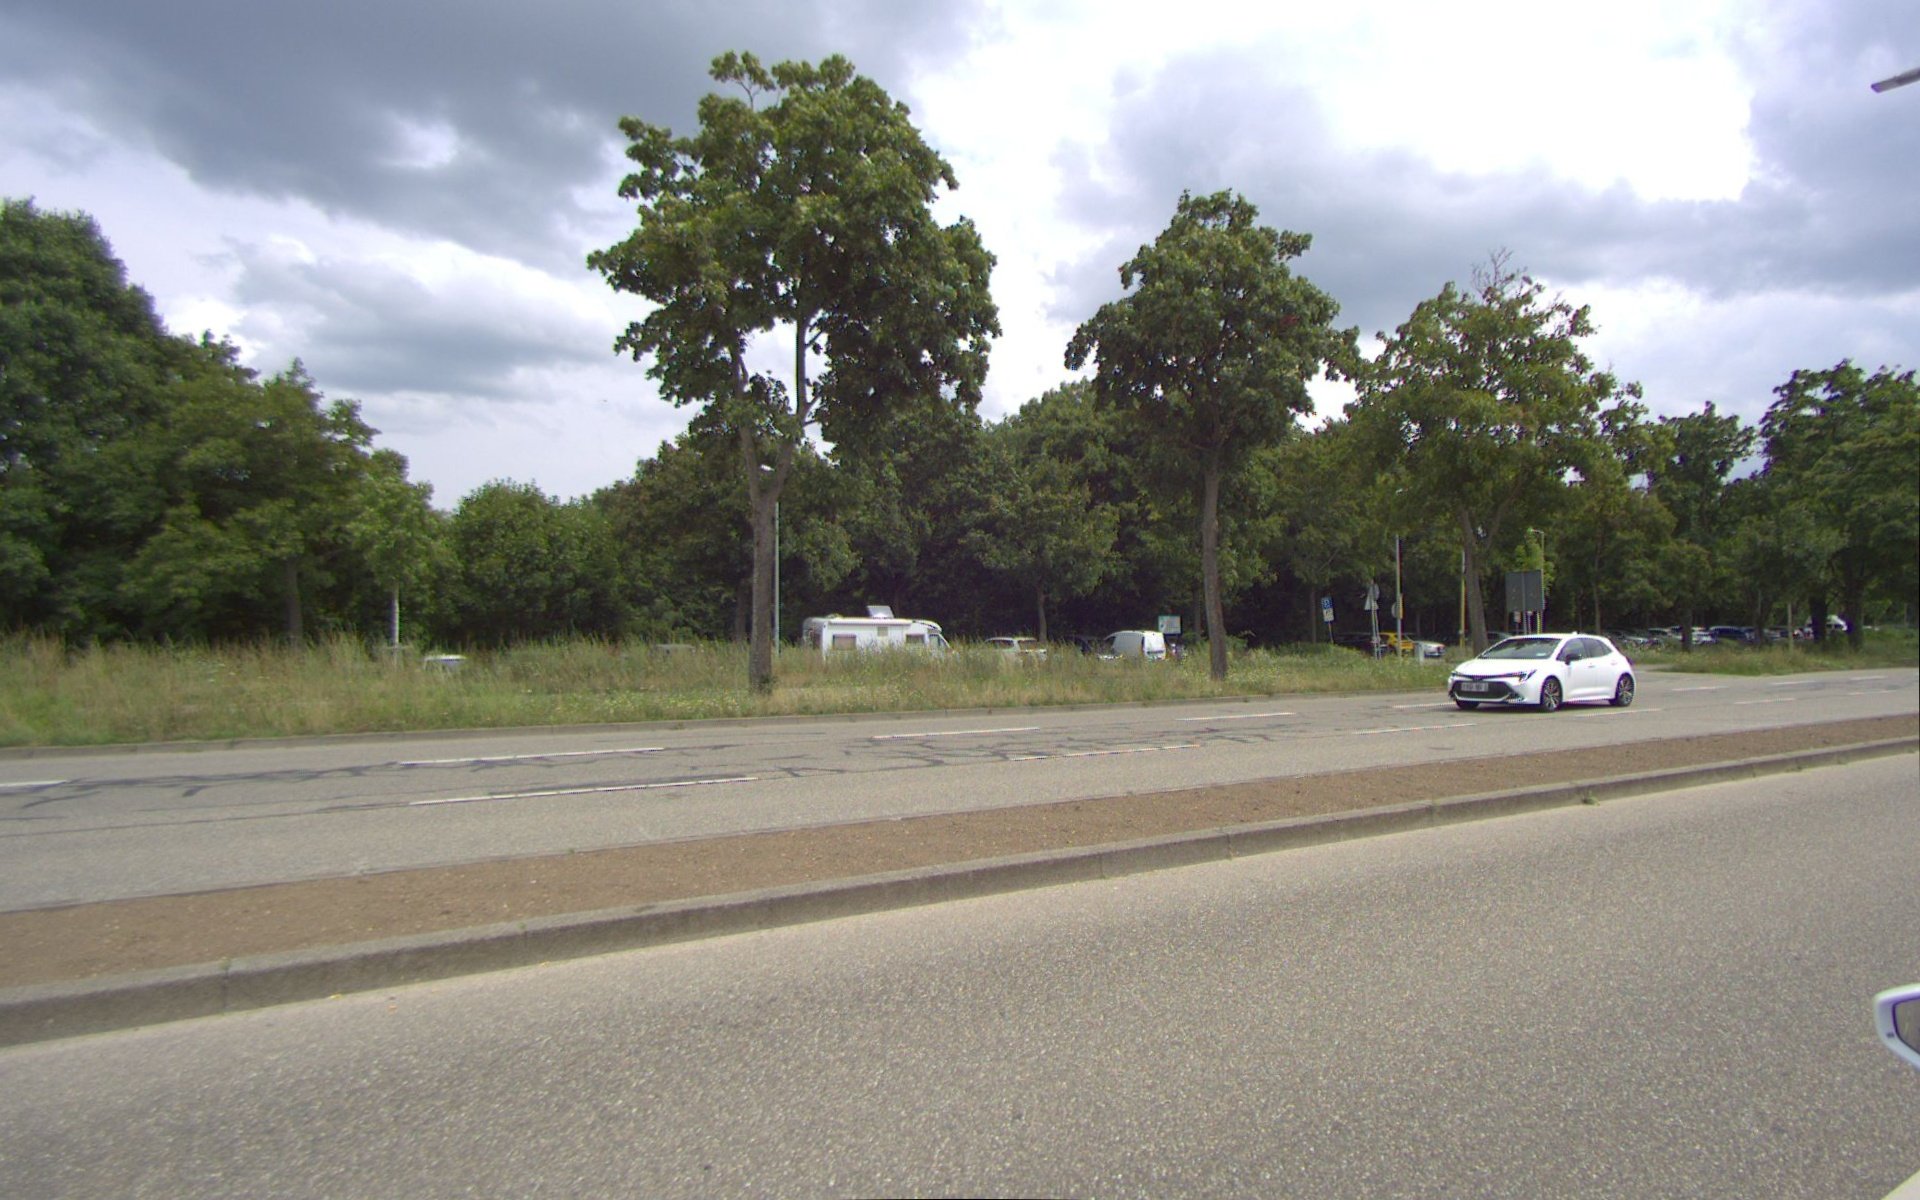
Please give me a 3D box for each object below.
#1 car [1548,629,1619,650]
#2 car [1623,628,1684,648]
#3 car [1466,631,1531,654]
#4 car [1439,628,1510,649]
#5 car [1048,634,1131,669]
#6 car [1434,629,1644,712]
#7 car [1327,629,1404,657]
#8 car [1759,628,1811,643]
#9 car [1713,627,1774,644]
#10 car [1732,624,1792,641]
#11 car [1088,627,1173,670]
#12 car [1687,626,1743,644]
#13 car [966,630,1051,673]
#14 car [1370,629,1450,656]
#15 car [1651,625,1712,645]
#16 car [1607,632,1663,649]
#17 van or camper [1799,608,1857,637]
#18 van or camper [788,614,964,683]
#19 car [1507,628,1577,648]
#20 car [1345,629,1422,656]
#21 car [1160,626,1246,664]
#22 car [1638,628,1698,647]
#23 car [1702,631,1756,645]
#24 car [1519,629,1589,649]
[{"bbox_3d":[45.451,2.875,73.256,1.973,1.429,3.974,0,-1,-26],"label":"car"},{"bbox_3d":[54.137,2.963,78.499,1.498,1.430,3.634,0,-1,-28],"label":"car"},{"bbox_3d":[35.989,2.830,67.262,1.498,1.430,3.634,0,-1,-28],"label":"car"},{"bbox_3d":[33.867,2.506,66.243,1.545,1.276,3.968,0,-1,-30],"label":"car"},{"bbox_3d":[6.001,2.361,46.945,1.775,1.506,3.968,0,-1,-30],"label":"car"},{"bbox_3d":[11.325,1.323,19.583,4.110,1.438,1.709,0,-3,-30],"label":"car"},{"bbox_3d":[23.684,2.489,58.813,1.763,1.518,3.970,0,-1,-29],"label":"car"},{"bbox_3d":[74.881,3.204,91.174,1.424,1.248,3.352,0,-1,-29],"label":"car"},{"bbox_3d":[67.591,3.055,86.738,1.976,1.428,3.713,0,-1,-30],"label":"car"},{"bbox_3d":[71.880,2.916,90.026,1.942,1.444,3.757,0,-1,-28],"label":"car"},{"bbox_3d":[8.063,2.243,47.893,1.916,1.912,3.968,0,-1,-30],"label":"car"},{"bbox_3d":[62.920,2.936,83.783,1.305,1.430,3.535,0,-1,-28],"label":"car"},{"bbox_3d":[2.068,2.185,43.724,1.865,1.739,3.967,0,-1,-31],"label":"car"},{"bbox_3d":[27.204,2.563,60.895,1.862,1.518,4.163,0,-1,-29],"label":"car"},{"bbox_3d":[58.303,2.796,81.225,1.859,1.539,3.634,0,-1,-28],"label":"car"},{"bbox_3d":[51.646,3.092,76.908,1.498,1.222,3.281,0,-1,-28],"label":"car"},{"bbox_3d":[85.465,2.218,98.951,1.904,2.793,3.967,0,-1,-31],"label":"van or camper"},{"bbox_3d":[-3.286,1.839,39.981,6.641,2.574,2.460,0,-1,-31],"label":"van or camper"},{"bbox_3d":[41.003,2.658,70.847,1.646,1.378,3.971,0,-1,-28],"label":"car"},{"bbox_3d":[25.173,2.513,59.822,1.763,1.518,3.970,0,-1,-29],"label":"car"},{"bbox_3d":[12.008,2.187,49.859,2.022,1.736,3.968,0,-1,-30],"label":"car"},{"bbox_3d":[56.214,2.980,79.805,1.498,1.430,3.634,0,-1,-28],"label":"car"},{"bbox_3d":[64.819,3.157,84.728,1.424,1.108,3.352,0,-1,-29],"label":"car"},{"bbox_3d":[42.636,2.765,72.152,1.800,1.378,3.971,0,-1,-28],"label":"car"}]
